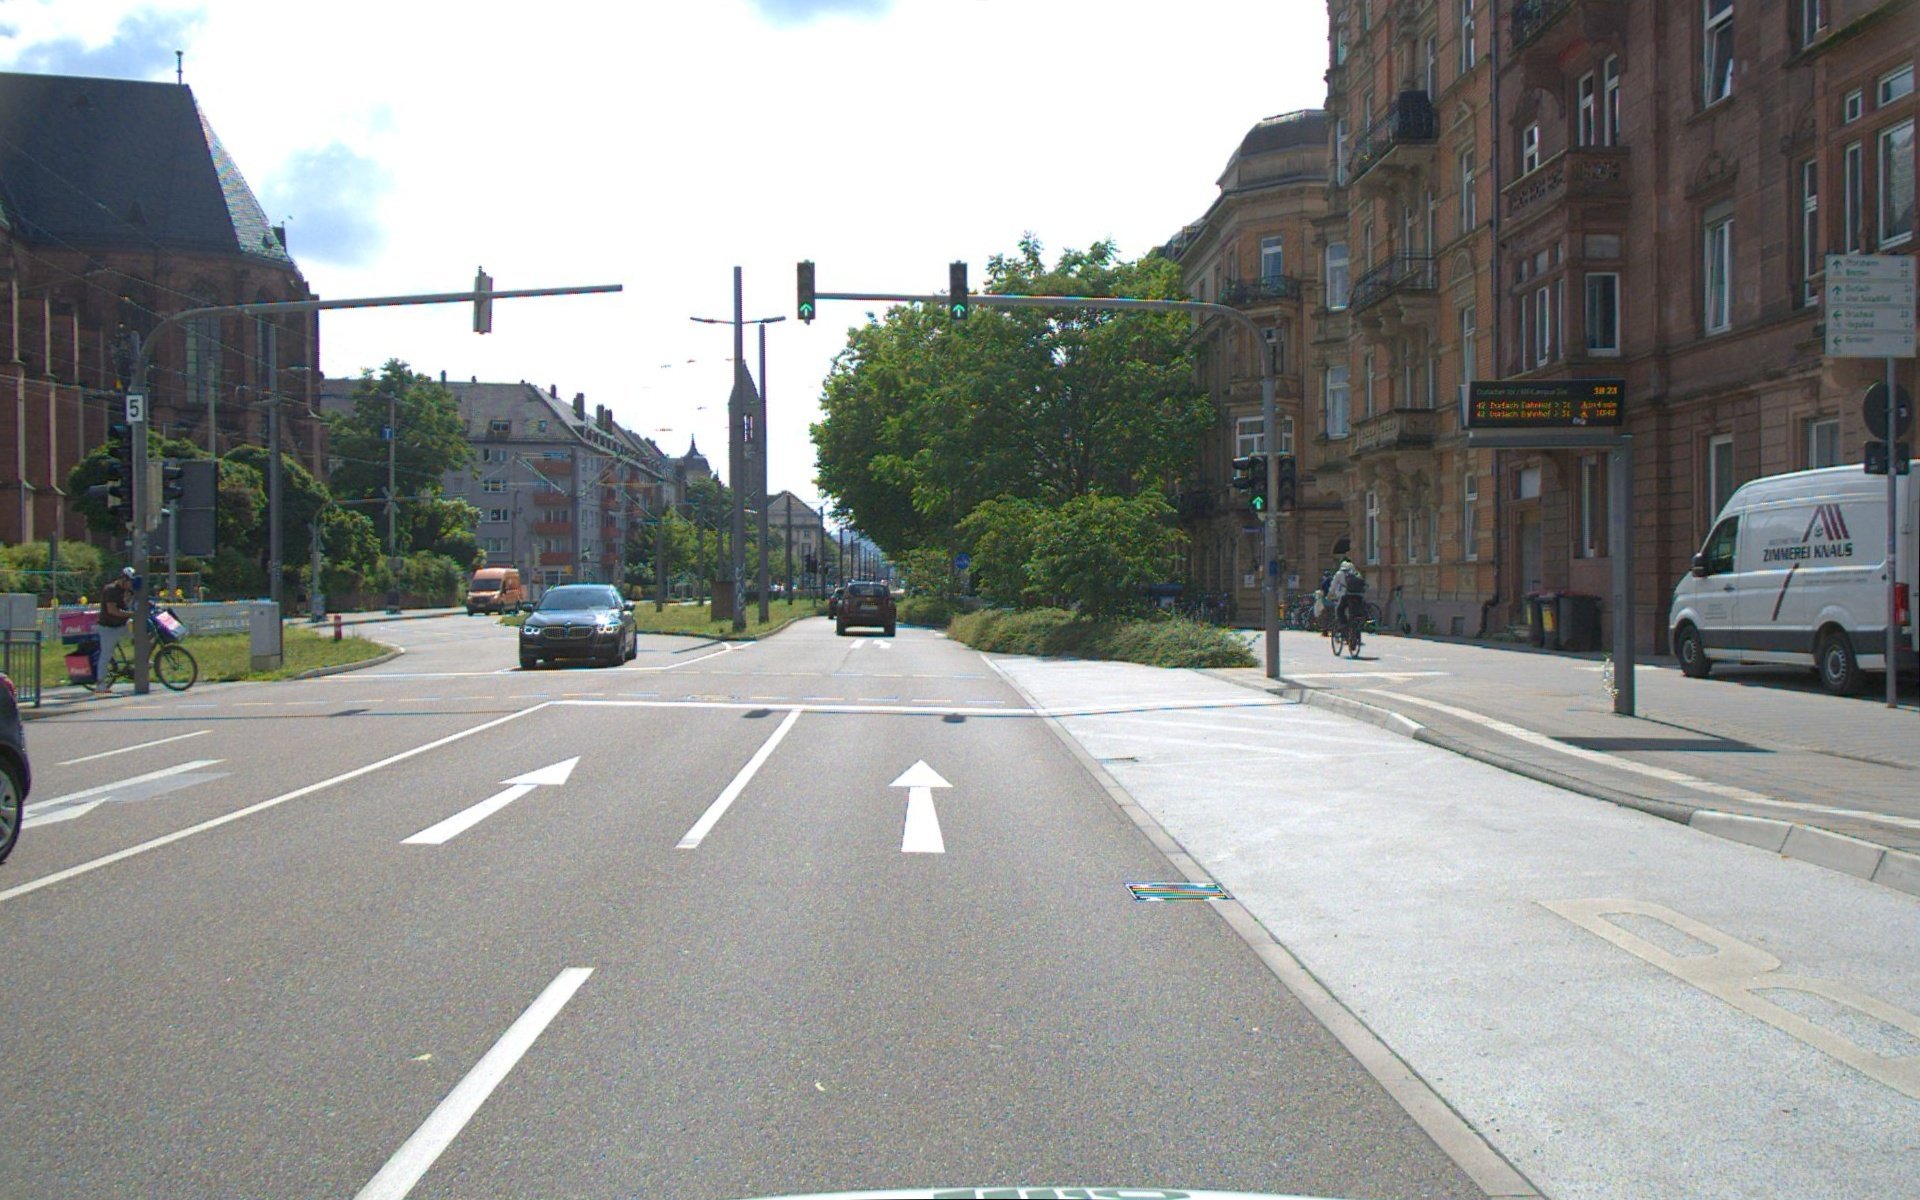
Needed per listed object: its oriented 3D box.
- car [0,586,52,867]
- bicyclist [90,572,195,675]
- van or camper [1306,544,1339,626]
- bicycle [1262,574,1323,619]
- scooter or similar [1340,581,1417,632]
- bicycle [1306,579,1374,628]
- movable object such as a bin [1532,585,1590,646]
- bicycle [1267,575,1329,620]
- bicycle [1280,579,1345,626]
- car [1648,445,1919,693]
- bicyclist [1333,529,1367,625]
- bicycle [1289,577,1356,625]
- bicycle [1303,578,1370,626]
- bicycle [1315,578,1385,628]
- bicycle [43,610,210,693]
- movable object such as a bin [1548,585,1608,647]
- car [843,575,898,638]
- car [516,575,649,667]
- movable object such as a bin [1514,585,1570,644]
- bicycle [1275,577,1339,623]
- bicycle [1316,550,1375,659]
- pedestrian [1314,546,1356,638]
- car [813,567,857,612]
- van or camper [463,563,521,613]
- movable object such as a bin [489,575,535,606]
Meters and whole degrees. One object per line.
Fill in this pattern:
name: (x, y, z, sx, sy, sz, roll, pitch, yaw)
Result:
car: (-5.852, 0.679, 7.118, 1.877, 1.442, 3.740, -1, 1, -2)
bicyclist: (-11.851, 0.330, 23.994, 1.066, 1.461, 0.825, -1, 0, 8)
van or camper: (9.170, -0.390, 41.816, 0.652, 2.049, 0.638, -1, 0, -2)
bicycle: (9.815, -0.099, 48.866, 1.732, 1.290, 0.467, 0, 3, 1)
scooter or similar: (10.373, 0.160, 41.026, 1.733, 1.205, 0.466, -2, 0, -2)
bicycle: (10.176, 0.092, 44.280, 1.709, 1.290, 0.467, 0, 3, 1)
movable object such as a bin: (11.335, 0.281, 31.209, 0.770, 1.127, 0.776, -1, 0, -4)
bicycle: (9.852, -0.082, 48.228, 1.732, 1.290, 0.467, 0, 3, 1)
bicycle: (9.919, 0.061, 46.525, 1.732, 1.290, 0.467, 0, 3, 1)
car: (10.651, -0.371, 20.123, 1.953, 2.569, 5.887, 0, 1, -2)
bicyclist: (7.262, -0.422, 30.789, 0.419, 1.748, 0.828, 0, 0, -1)
bicycle: (10.019, 0.029, 45.724, 1.732, 1.290, 0.467, 0, 3, 1)
bicycle: (10.213, 0.048, 44.906, 1.732, 1.290, 0.467, 0, 3, 1)
bicycle: (10.306, 0.074, 43.745, 1.732, 1.290, 0.467, 0, 3, 1)
bicycle: (-12.071, 0.741, 23.988, 1.975, 1.146, 0.932, -1, 0, 8)
movable object such as a bin: (11.375, 0.287, 30.454, 0.770, 1.127, 0.776, -1, 0, -4)
car: (-2.807, 0.163, 51.579, 1.655, 1.740, 3.607, 0, 3, -4)
car: (-7.046, 0.345, 31.299, 1.782, 1.579, 4.556, -1, 1, -4)
movable object such as a bin: (11.290, 0.269, 32.102, 0.770, 1.127, 0.776, -1, 0, -4)
bicycle: (9.898, -0.012, 47.146, 1.732, 1.290, 0.467, 0, 3, 1)
bicycle: (7.163, 0.071, 30.778, 0.669, 1.959, 1.589, -1, 0, -1)
pedestrian: (8.512, -0.182, 37.568, 0.752, 2.049, 0.715, -1, 0, -1)
car: (-5.866, -0.499, 77.510, 1.954, 2.049, 3.996, -1, 1, -5)
van or camper: (-27.339, -0.725, 96.869, 2.212, 2.785, 6.195, -1, 1, -6)
movable object such as a bin: (-27.902, -0.613, 103.194, 2.164, 1.723, 3.713, -1, 3, -6)
